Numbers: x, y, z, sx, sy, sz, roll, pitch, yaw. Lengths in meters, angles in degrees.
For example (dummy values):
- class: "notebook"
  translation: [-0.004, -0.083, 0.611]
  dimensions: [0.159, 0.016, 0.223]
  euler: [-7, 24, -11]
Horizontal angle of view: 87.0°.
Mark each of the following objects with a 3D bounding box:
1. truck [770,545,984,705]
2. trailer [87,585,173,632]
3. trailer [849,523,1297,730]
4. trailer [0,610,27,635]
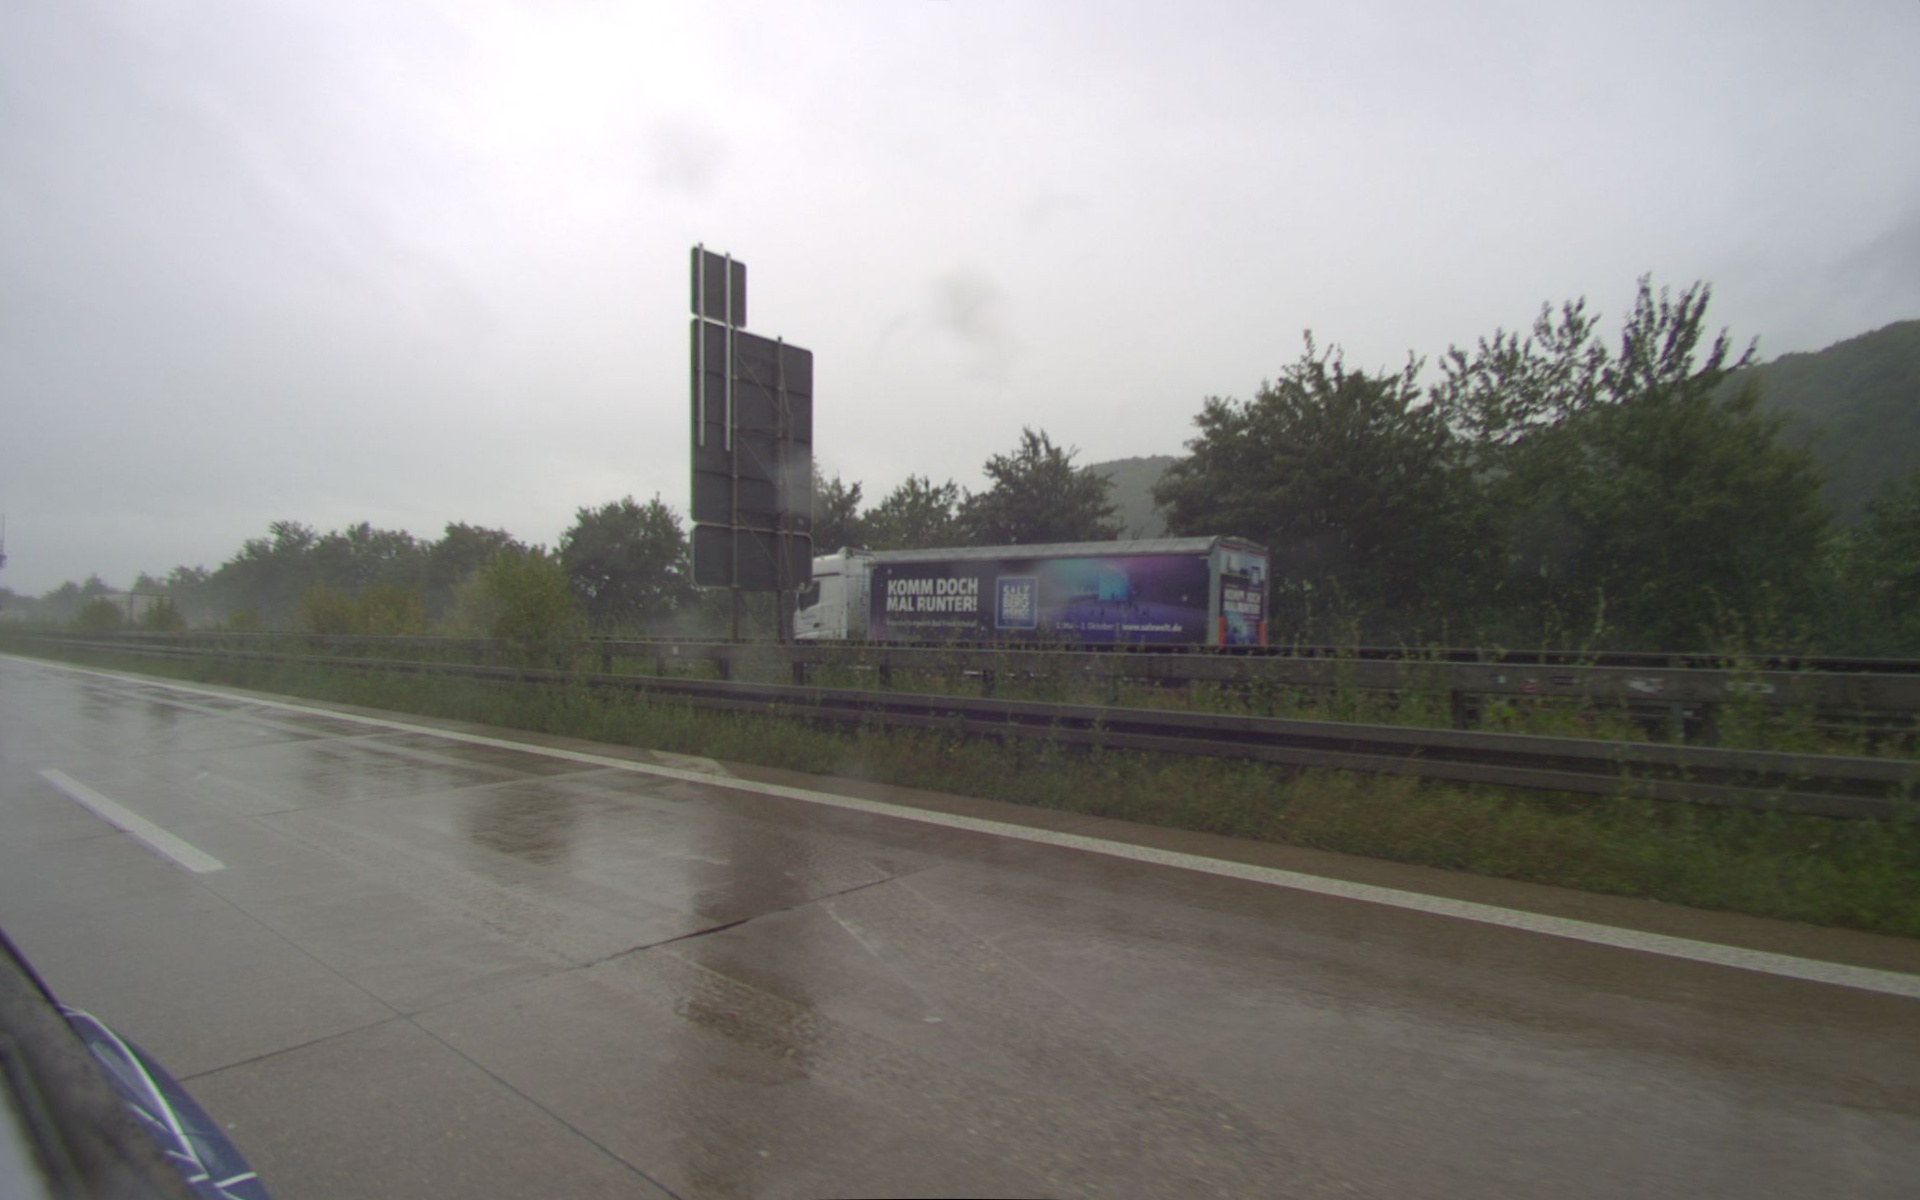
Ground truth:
- class: "truck"
  translation: [-2.504, 0.724, 29.731]
  dimensions: [5.515, 4.216, 3.339]
  euler: [-1, -1, 40]
- class: "trailer"
  translation: [-67.946, 0.706, 82.688]
  dimensions: [13.694, 3.569, 2.824]
  euler: [-1, 0, 39]
- class: "trailer"
  translation: [2.290, 0.652, 25.576]
  dimensions: [11.396, 4.205, 3.320]
  euler: [-1, -1, 41]
- class: "trailer"
  translation: [-147.706, 3.472, 157.143]
  dimensions: [12.279, 3.702, 2.934]
  euler: [-2, -1, 41]
